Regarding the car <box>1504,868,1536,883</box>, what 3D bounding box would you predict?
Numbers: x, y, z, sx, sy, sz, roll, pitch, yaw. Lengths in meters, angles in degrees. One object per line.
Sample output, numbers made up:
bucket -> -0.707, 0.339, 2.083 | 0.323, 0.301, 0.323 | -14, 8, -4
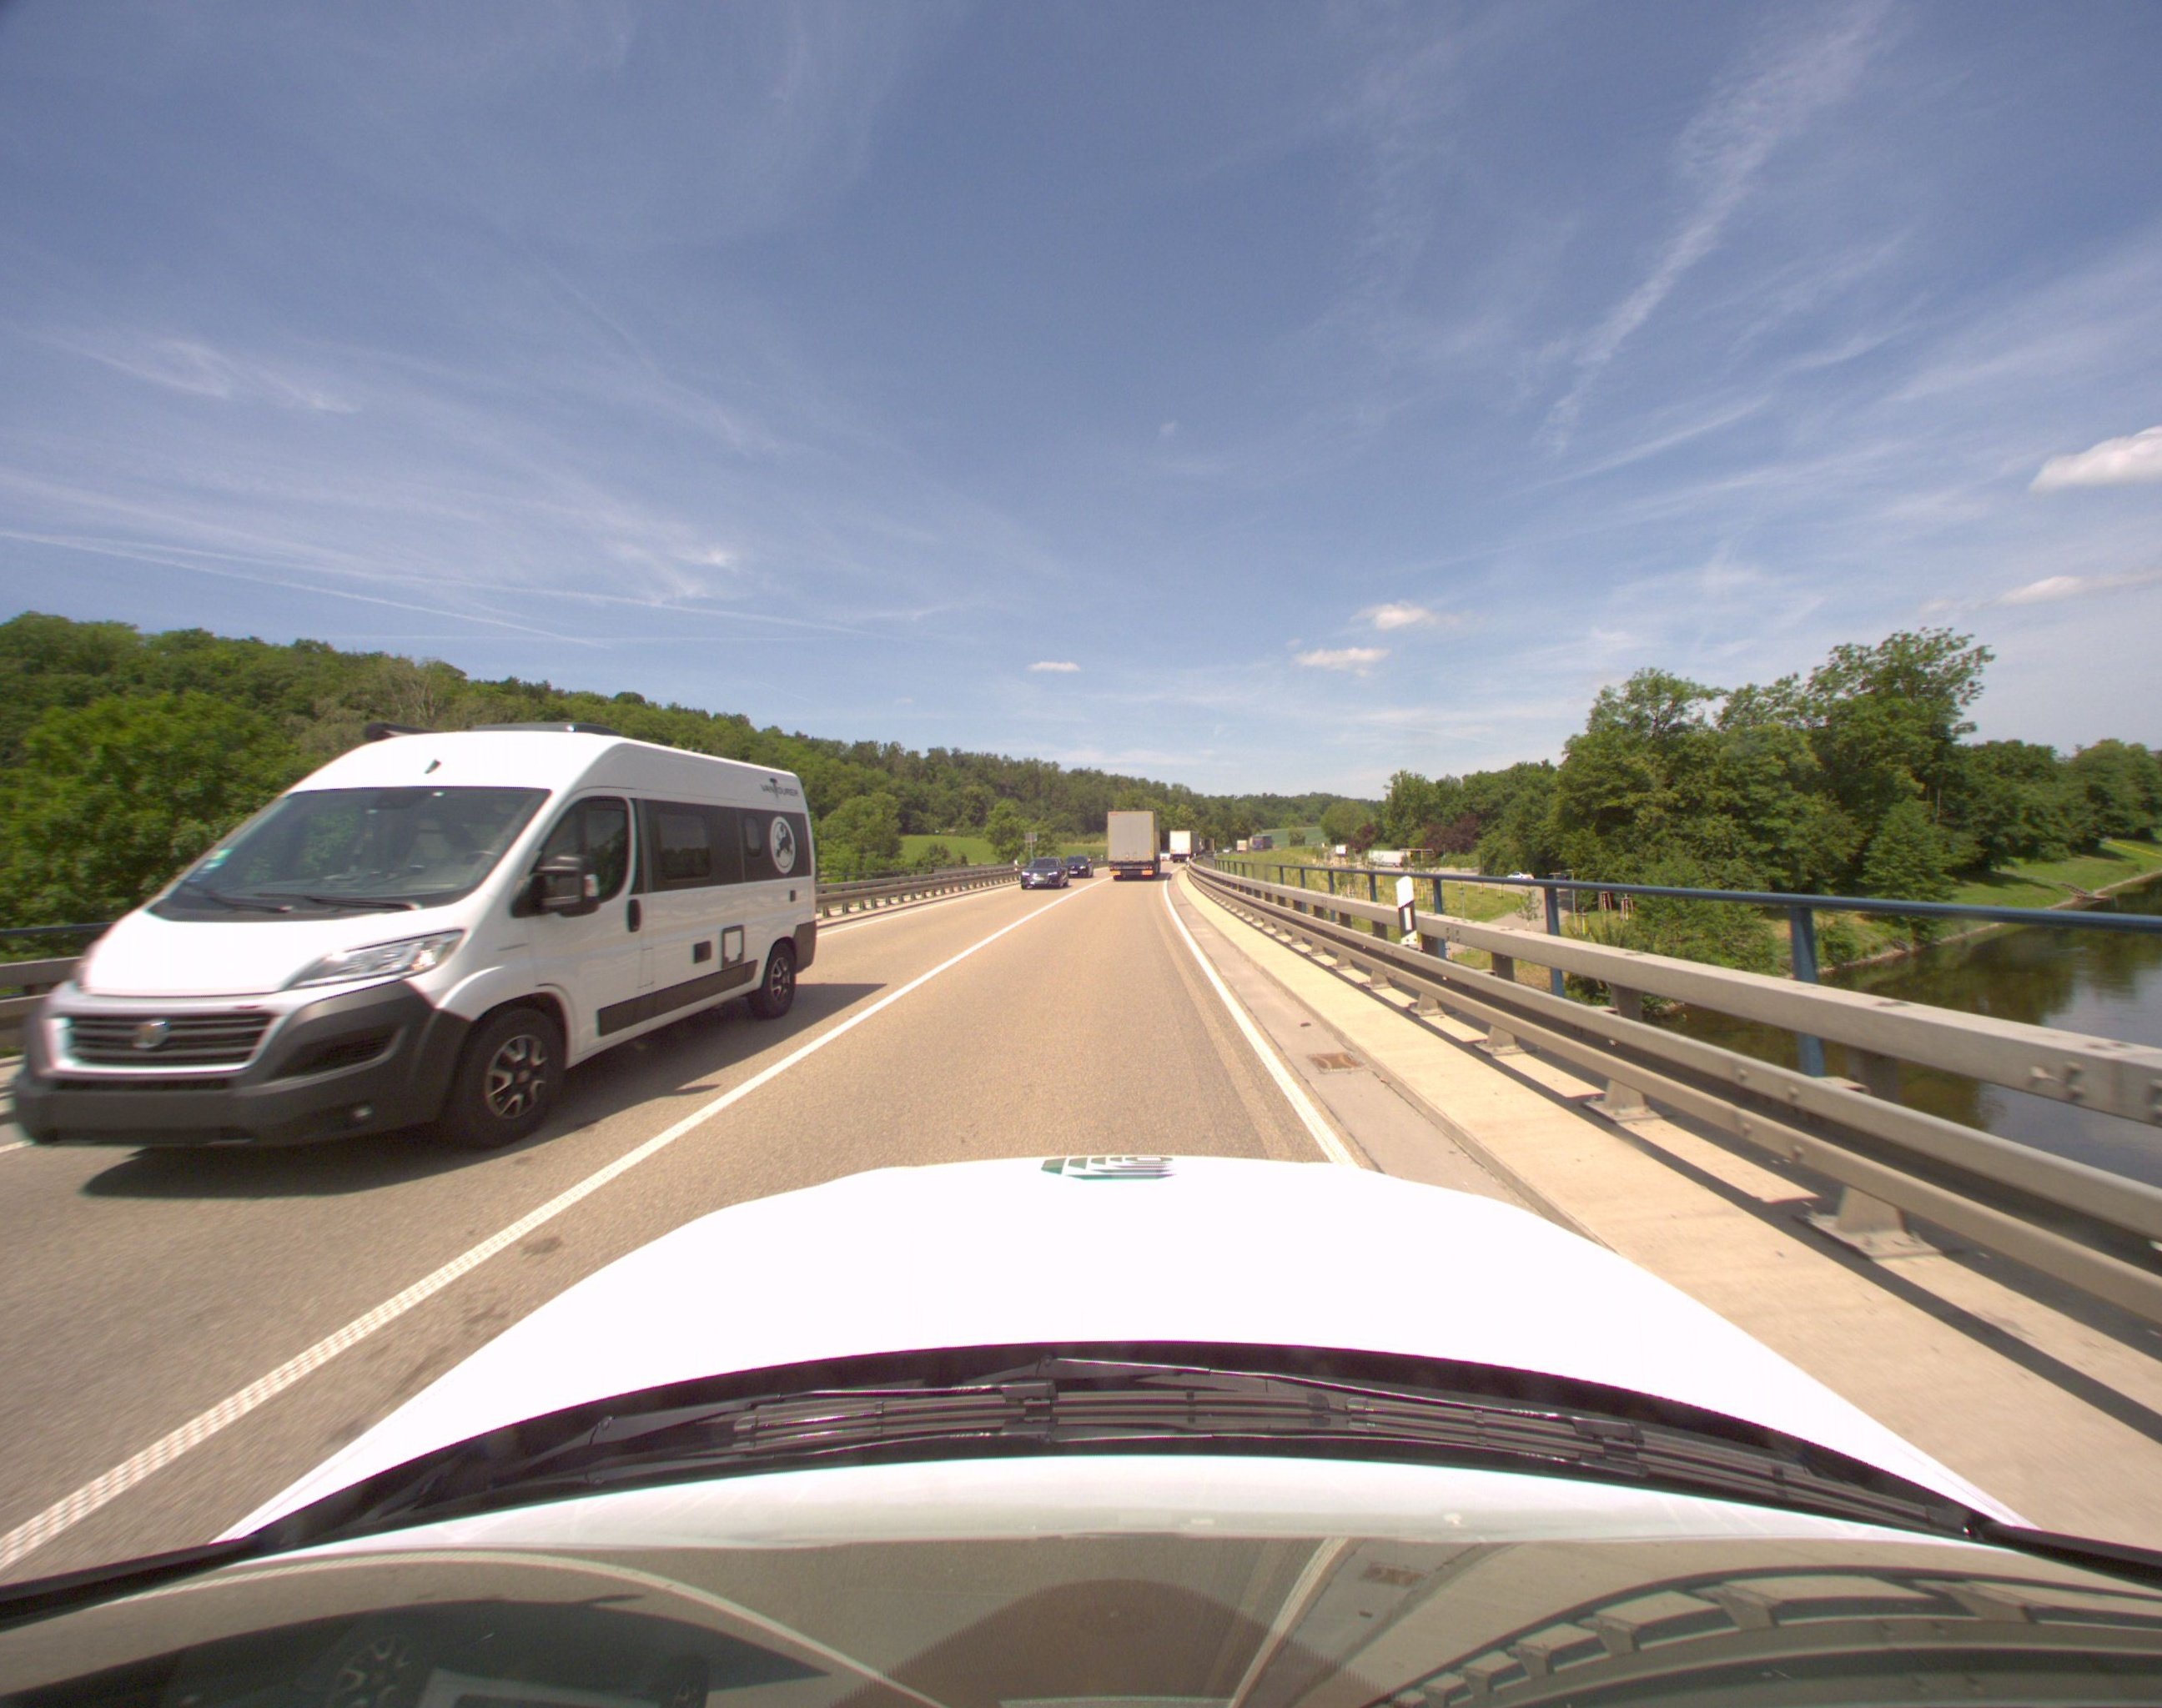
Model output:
car -> 55.963, 2.732, 103.864 | 1.848, 1.482, 4.615 | -5, 0, 5

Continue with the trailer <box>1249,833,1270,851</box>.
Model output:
trailer -> 45.717, -3.058, 208.026 | 3.617, 4.263, 12.255 | -1, 0, 20

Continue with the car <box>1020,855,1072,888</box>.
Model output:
car -> -1.580, 0.774, 38.074 | 1.712, 1.435, 4.625 | -1, 0, 6

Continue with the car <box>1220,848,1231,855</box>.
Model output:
car -> 33.157, -0.596, 186.740 | 1.754, 1.494, 4.189 | -1, 0, 17

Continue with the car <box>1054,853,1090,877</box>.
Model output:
car -> -0.547, 0.678, 53.155 | 1.711, 1.482, 4.579 | -1, 0, 7

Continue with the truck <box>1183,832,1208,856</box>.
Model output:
truck -> 21.341, -1.792, 151.286 | 3.036, 4.263, 9.912 | -1, 0, 17

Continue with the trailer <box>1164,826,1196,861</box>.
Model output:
trailer -> 13.181, -1.267, 107.377 | 3.344, 4.317, 13.904 | -1, 0, 10

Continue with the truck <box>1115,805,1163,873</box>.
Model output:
truck -> 4.239, -1.025, 58.161 | 3.102, 4.494, 6.824 | -1, 0, 7

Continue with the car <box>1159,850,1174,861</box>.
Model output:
car -> 12.612, 0.210, 120.094 | 1.745, 1.512, 4.014 | -1, -1, 13

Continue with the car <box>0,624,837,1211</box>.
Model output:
car -> -4.045, 0.282, 6.479 | 2.170, 2.559, 5.801 | -1, 0, 3

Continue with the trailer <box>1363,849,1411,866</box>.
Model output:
trailer -> 61.930, 0.682, 165.216 | 2.722, 3.327, 11.839 | -1, 1, -14

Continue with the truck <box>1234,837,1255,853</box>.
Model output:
truck -> 37.551, -1.963, 186.926 | 3.197, 3.365, 11.930 | -1, 0, 18

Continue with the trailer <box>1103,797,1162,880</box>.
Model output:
trailer -> 3.510, -0.951, 51.355 | 3.103, 4.499, 13.909 | -1, 1, 6

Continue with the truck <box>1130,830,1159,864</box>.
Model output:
truck -> 7.787, -0.872, 98.693 | 2.898, 3.803, 9.731 | -1, 0, 8
